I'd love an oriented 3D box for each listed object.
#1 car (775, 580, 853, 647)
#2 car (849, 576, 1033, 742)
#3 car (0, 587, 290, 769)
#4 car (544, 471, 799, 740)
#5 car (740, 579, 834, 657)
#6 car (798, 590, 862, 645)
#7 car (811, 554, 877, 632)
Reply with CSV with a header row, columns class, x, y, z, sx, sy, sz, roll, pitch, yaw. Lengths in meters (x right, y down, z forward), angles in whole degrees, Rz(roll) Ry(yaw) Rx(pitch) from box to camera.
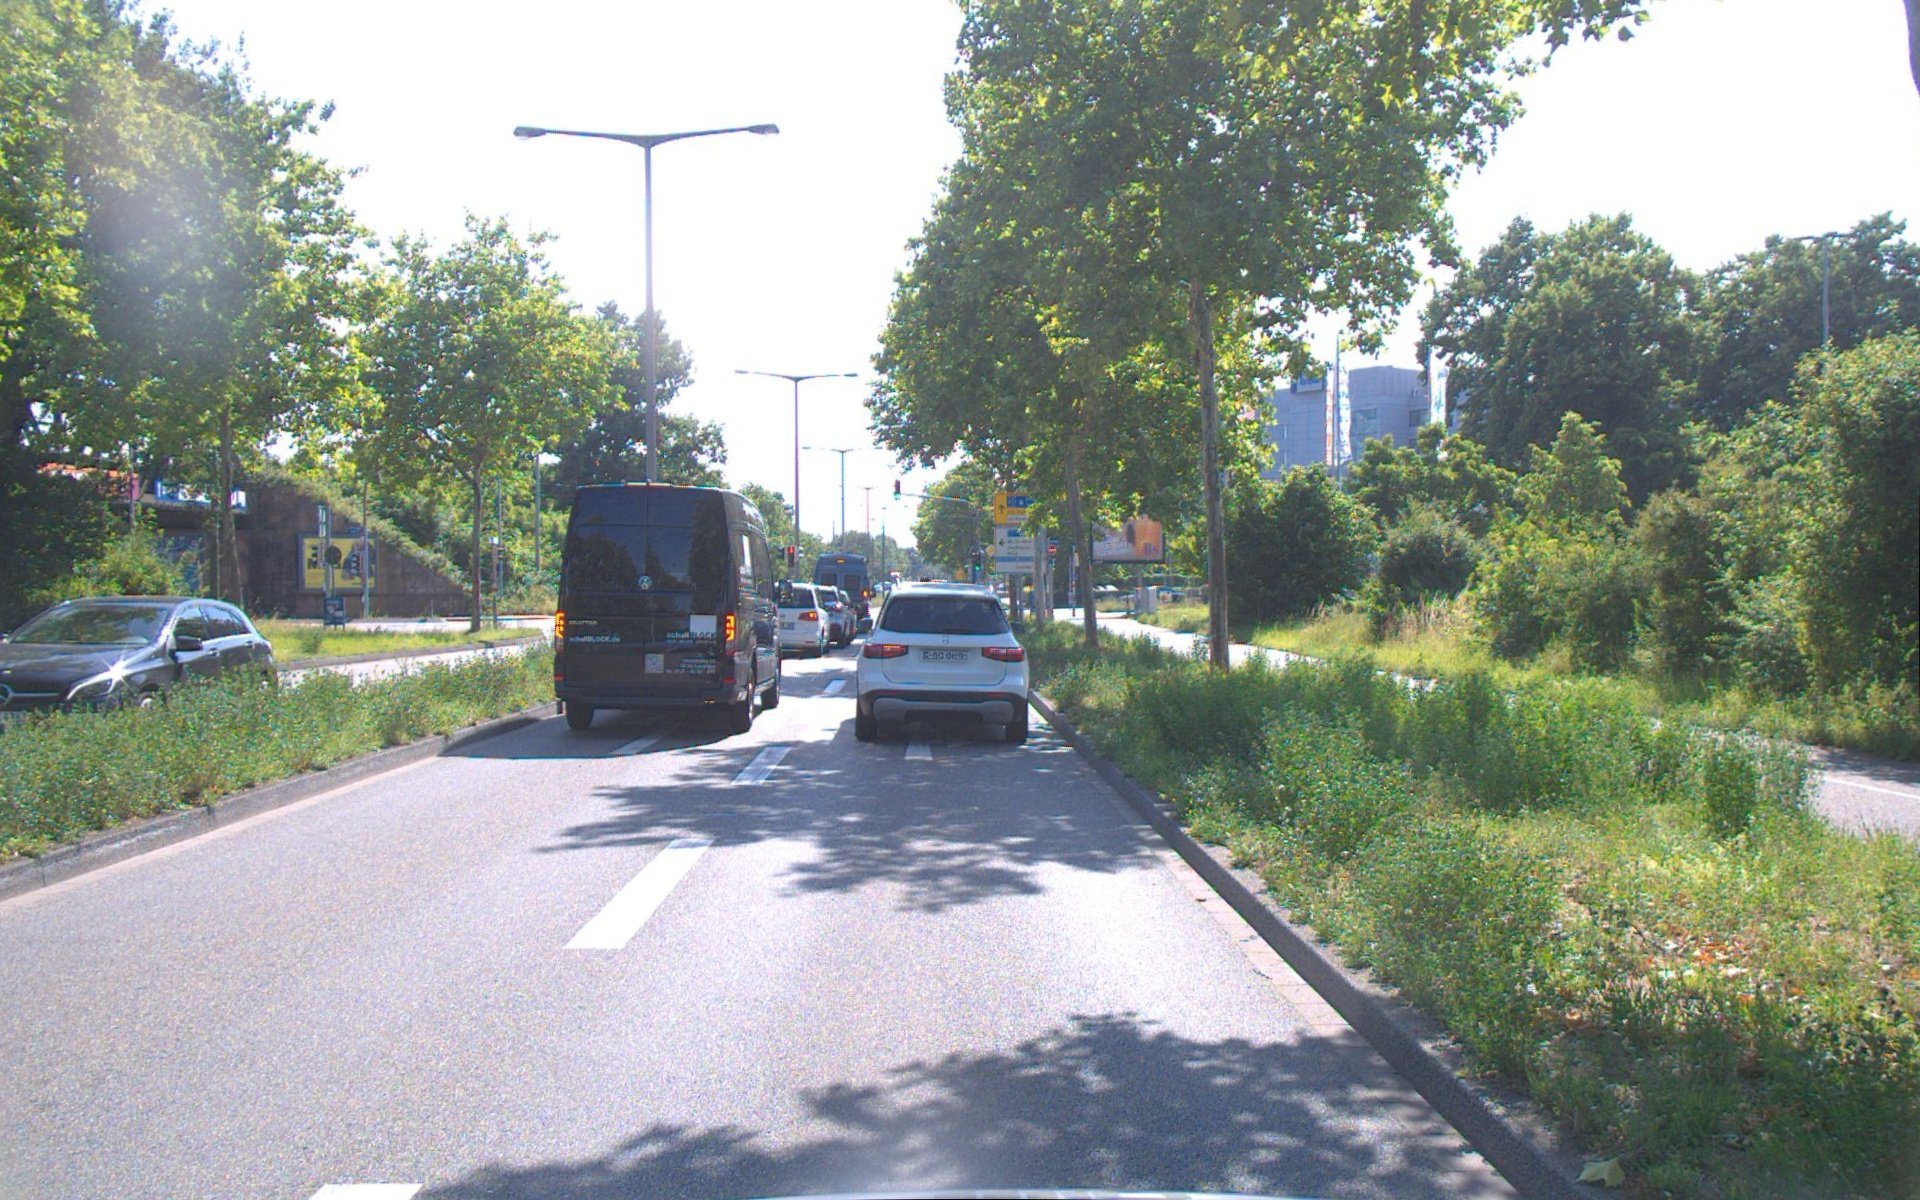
class,x,y,z,sx,sy,sz,roll,pitch,yaw
car,-3.839,0.330,43.985,1.735,1.676,4.084,1,0,-1
car,-0.126,0.577,18.336,1.815,1.635,4.001,0,0,2
car,-8.016,0.637,15.788,1.570,1.497,4.168,1,0,-1
car,-3.176,0.054,19.564,1.975,2.653,6.167,1,0,-1
car,-3.910,0.397,38.073,1.735,1.676,4.351,1,0,-1
car,-3.894,0.494,49.853,1.657,1.531,3.885,2,0,-1
car,-4.176,-0.246,60.191,2.039,2.703,4.873,1,0,-1
